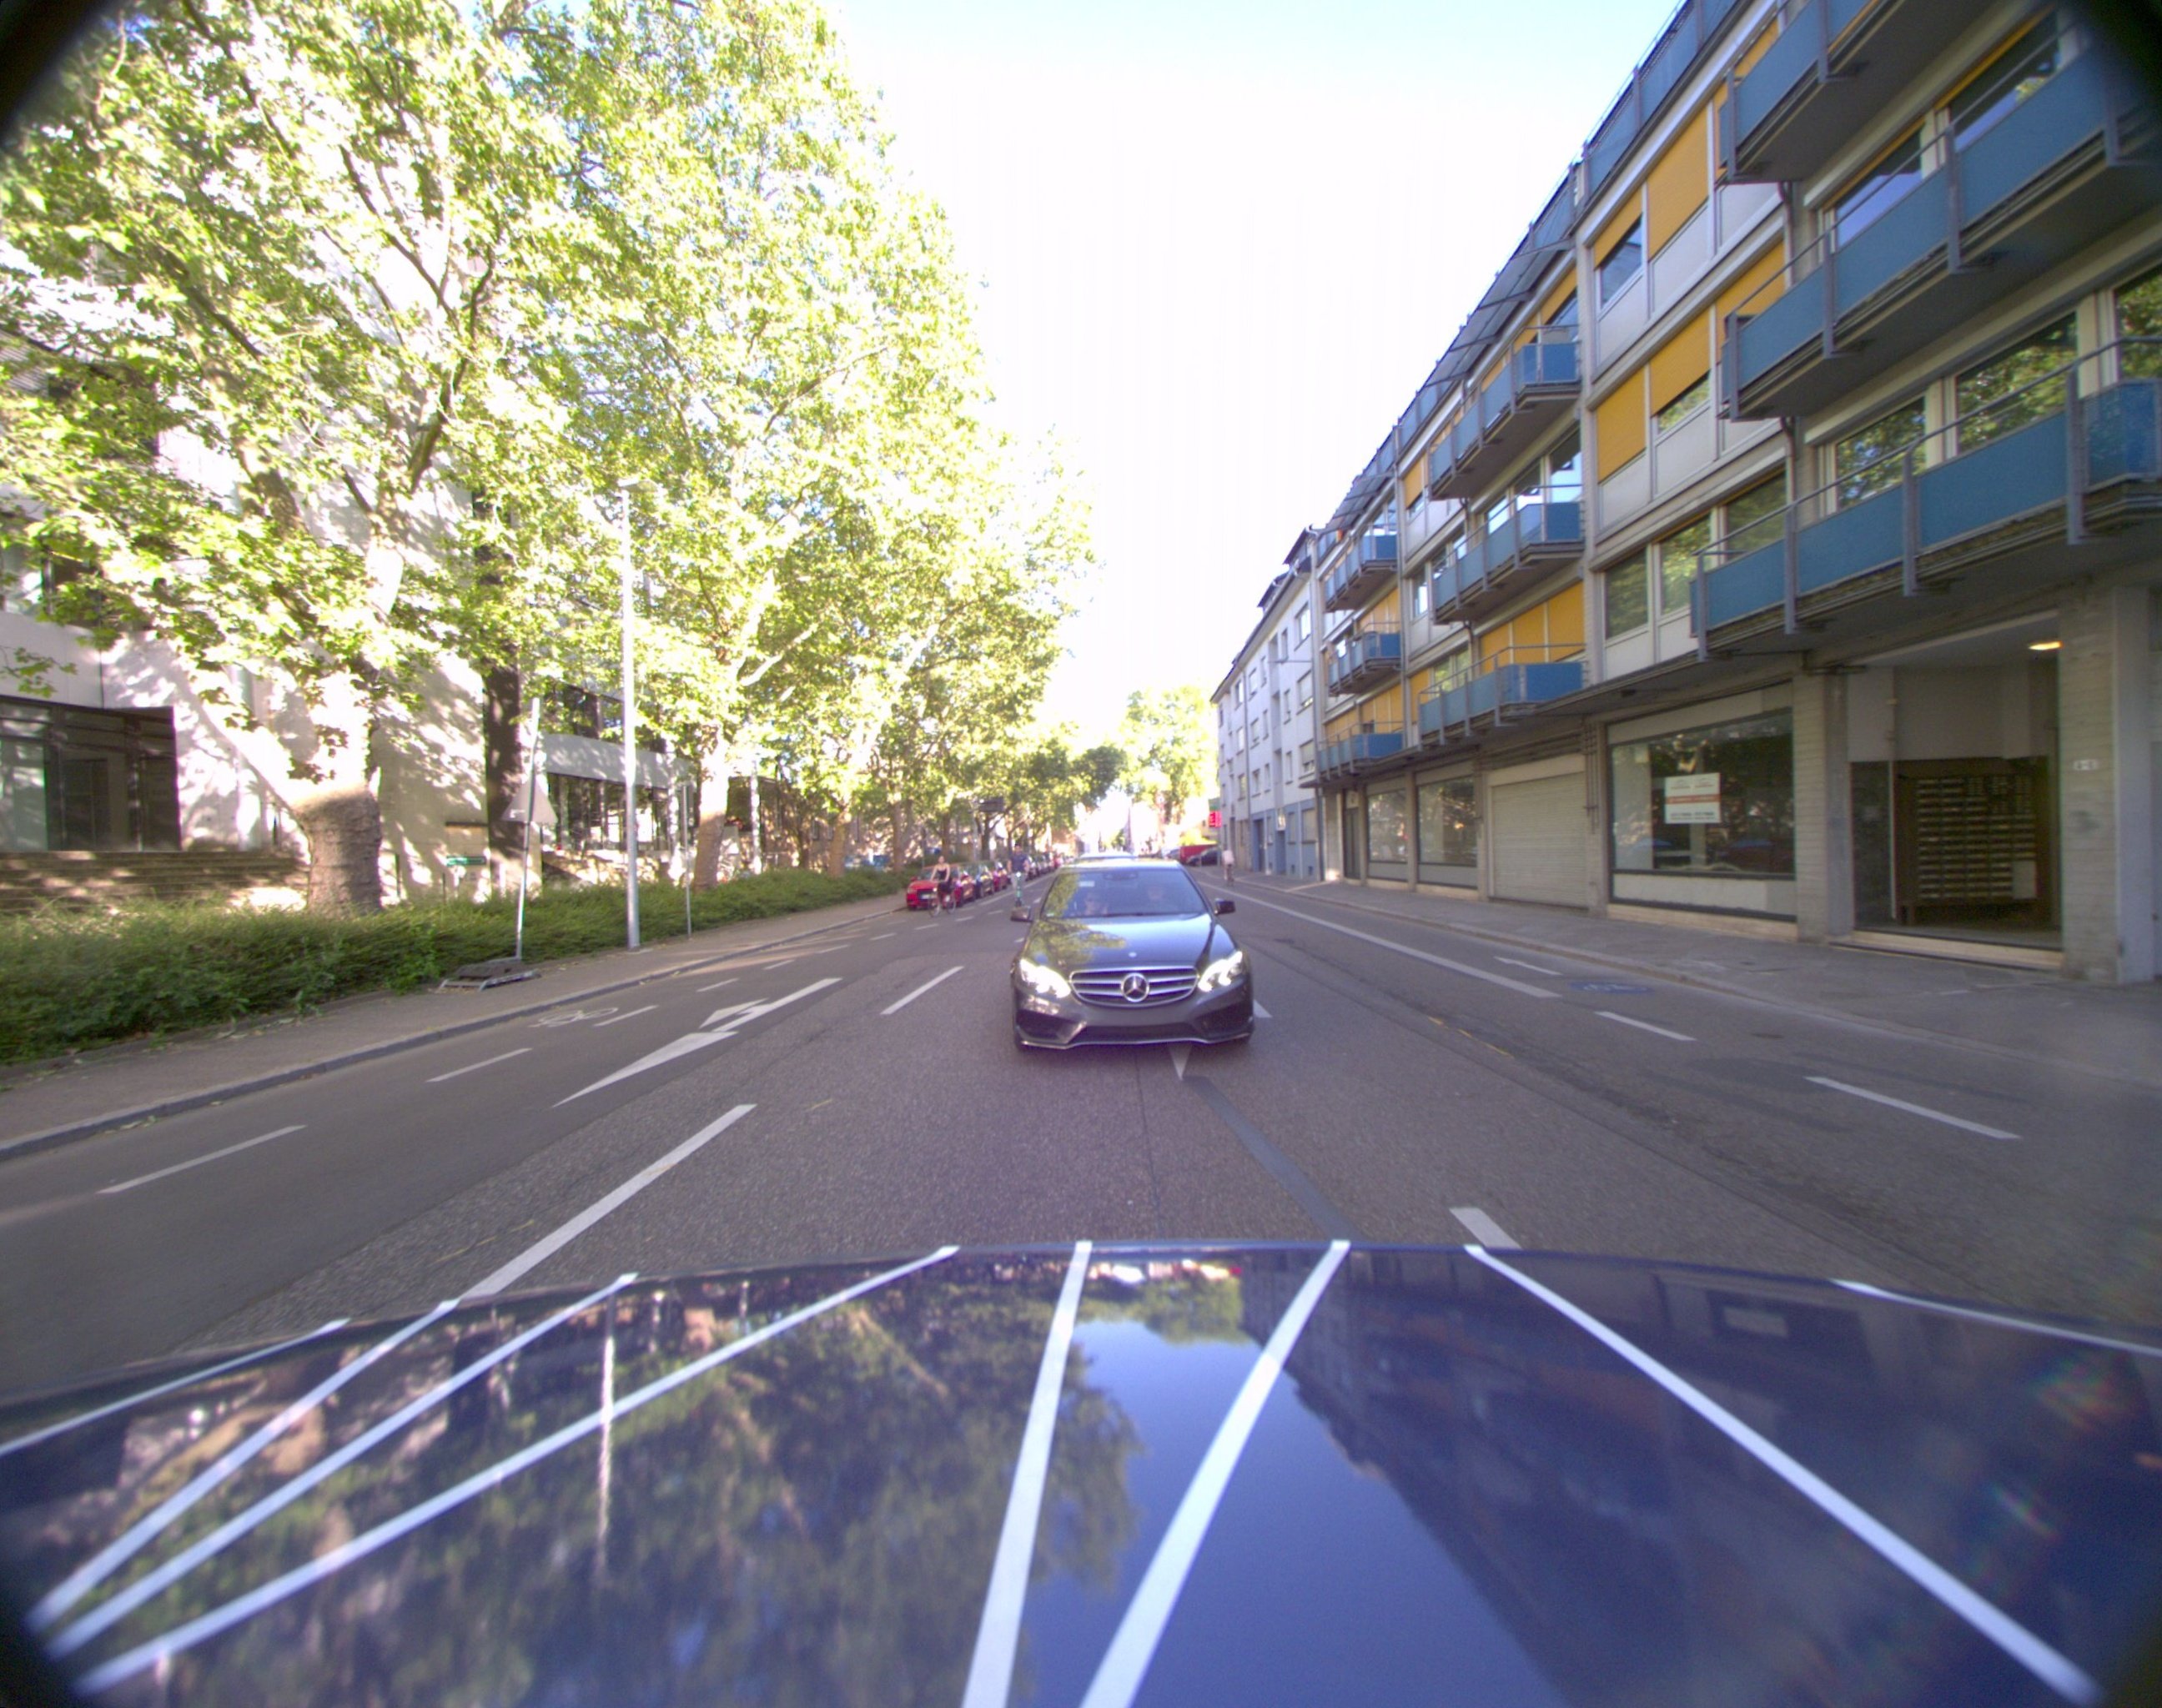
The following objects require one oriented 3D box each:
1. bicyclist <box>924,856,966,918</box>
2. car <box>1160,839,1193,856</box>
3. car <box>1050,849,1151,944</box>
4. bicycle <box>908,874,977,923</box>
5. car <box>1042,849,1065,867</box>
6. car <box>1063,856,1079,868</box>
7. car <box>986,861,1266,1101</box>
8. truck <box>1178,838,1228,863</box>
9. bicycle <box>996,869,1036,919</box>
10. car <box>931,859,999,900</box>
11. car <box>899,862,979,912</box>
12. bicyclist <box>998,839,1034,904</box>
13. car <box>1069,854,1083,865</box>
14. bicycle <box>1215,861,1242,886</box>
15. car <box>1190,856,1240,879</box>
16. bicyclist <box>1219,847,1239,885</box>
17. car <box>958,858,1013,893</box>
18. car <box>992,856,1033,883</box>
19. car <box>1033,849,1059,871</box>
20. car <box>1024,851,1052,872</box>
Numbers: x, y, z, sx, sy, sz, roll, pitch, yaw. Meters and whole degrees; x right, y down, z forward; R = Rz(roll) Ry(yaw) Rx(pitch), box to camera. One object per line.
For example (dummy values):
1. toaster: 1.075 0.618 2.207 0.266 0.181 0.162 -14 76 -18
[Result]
1. bicyclist: -3.839 0.927 21.545 0.769 1.670 0.896 -4 1 13
2. car: 12.242 -0.796 97.513 3.997 2.002 1.999 -2 1 0
3. car: 0.434 0.752 15.531 1.747 1.594 4.000 -2 1 2
4. bicycle: -3.852 1.211 21.448 0.769 1.129 2.818 -3 1 14
5. car: -2.826 0.378 78.829 1.898 1.807 4.077 -2 0 3
6. car: -1.349 1.036 104.931 1.898 1.542 4.077 -2 0 3
7. car: 0.414 0.876 7.393 1.798 1.460 4.720 -2 0 3
8. truck: 11.607 -0.320 72.299 4.403 2.146 1.877 -2 1 0
9. bicycle: -1.762 1.070 21.172 0.770 1.129 2.815 -4 1 1
10. car: -4.608 0.984 30.737 1.898 1.439 4.077 -2 0 3
11. car: -4.744 1.079 26.020 1.898 1.435 4.076 -2 0 0
12. bicyclist: -1.809 0.482 21.246 0.770 1.723 0.901 -5 1 1
13. car: -0.690 0.851 114.969 1.898 1.542 4.077 -2 0 3
14. bicycle: 6.346 0.821 32.774 0.692 0.980 2.631 -1 1 1
15. car: 11.794 1.156 67.043 3.997 1.825 1.830 -2 1 0
16. bicyclist: 6.335 0.507 32.601 0.692 1.621 0.758 -1 1 1
17. car: -4.490 0.965 36.238 1.898 1.443 4.077 -2 0 3
18. car: -4.063 0.890 45.620 1.898 1.443 4.077 -2 0 3
19. car: -3.069 0.535 67.842 1.898 1.841 4.077 -2 0 3
20. car: -3.520 0.603 63.095 1.898 1.642 4.077 -2 0 3
